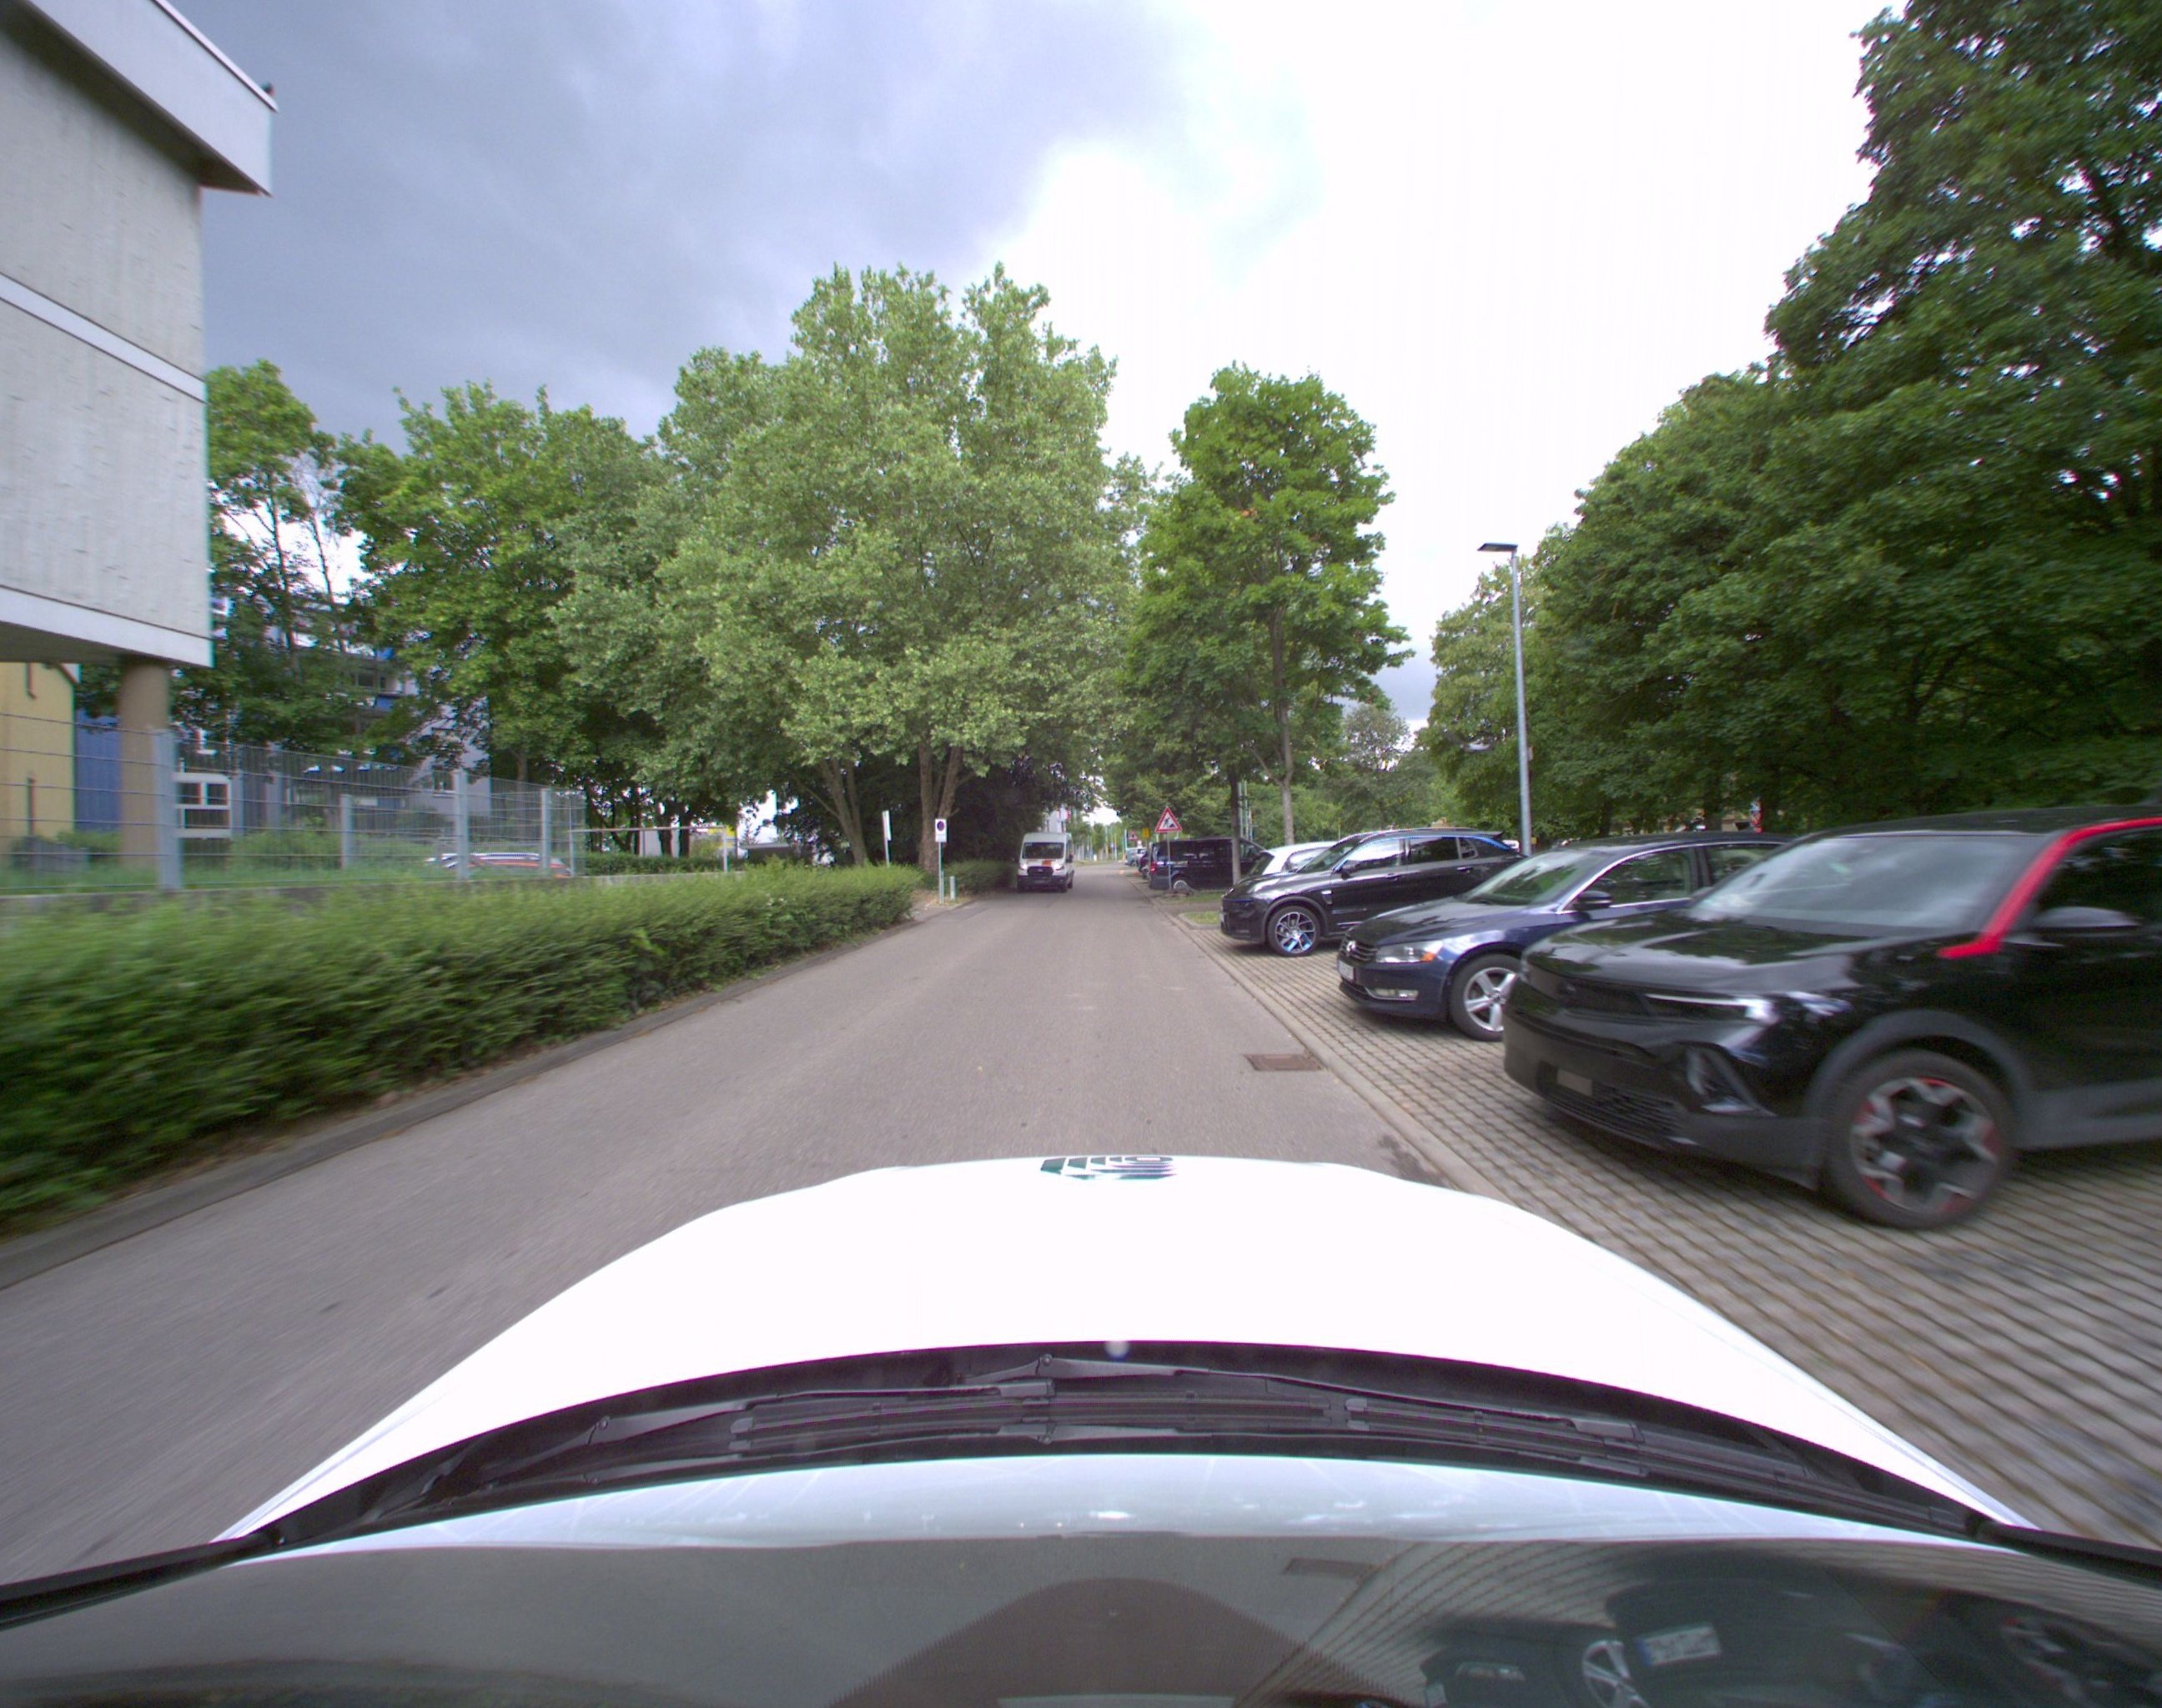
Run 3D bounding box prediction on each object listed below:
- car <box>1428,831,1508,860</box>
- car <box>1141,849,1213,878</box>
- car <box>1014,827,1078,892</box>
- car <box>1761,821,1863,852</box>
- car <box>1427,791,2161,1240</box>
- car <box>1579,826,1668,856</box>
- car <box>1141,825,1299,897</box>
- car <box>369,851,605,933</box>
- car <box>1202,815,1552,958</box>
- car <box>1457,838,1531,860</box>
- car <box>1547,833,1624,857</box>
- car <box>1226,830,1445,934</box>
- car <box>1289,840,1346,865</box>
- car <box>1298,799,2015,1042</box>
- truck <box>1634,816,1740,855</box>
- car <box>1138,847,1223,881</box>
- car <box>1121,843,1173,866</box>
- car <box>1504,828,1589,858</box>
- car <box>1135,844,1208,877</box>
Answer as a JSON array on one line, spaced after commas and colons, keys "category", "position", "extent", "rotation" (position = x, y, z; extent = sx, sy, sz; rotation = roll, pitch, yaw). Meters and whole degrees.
[{"category": "car", "position": [30.350, -0.657, 64.002], "extent": [5.290, 2.057, 2.142], "rotation": [-2, 0, 7]}, {"category": "car", "position": [5.342, 0.515, 45.472], "extent": [3.814, 1.358, 1.824], "rotation": [-3, -1, 4]}, {"category": "car", "position": [-1.371, 0.196, 34.599], "extent": [2.123, 2.476, 6.281], "rotation": [-1, 0, 3]}, {"category": "car", "position": [54.077, -1.261, 60.348], "extent": [5.290, 2.057, 2.142], "rotation": [-2, 0, 7]}, {"category": "car", "position": [4.141, 0.522, 3.984], "extent": [4.063, 1.517, 1.849], "rotation": [-3, 0, -3]}, {"category": "car", "position": [41.606, -0.988, 62.606], "extent": [5.290, 2.057, 2.142], "rotation": [-2, 0, 7]}, {"category": "car", "position": [4.605, 0.223, 27.599], "extent": [4.935, 2.013, 2.167], "rotation": [-4, 0, 2]}, {"category": "car", "position": [-13.215, 0.777, 18.284], "extent": [1.802, 1.611, 4.024], "rotation": [-2, -1, 44]}, {"category": "car", "position": [4.168, 0.433, 12.092], "extent": [4.400, 1.676, 2.082], "rotation": [-3, 0, 0]}, {"category": "car", "position": [29.489, -0.346, 58.224], "extent": [4.404, 1.428, 1.707], "rotation": [-2, -1, 8]}, {"category": "car", "position": [35.523, -0.609, 57.399], "extent": [4.259, 1.526, 1.707], "rotation": [-2, -1, 8]}, {"category": "car", "position": [4.484, 0.465, 14.742], "extent": [3.366, 1.574, 1.797], "rotation": [-3, 0, 1]}, {"category": "car", "position": [17.393, -0.072, 59.976], "extent": [3.757, 1.668, 1.772], "rotation": [-2, 0, 8]}, {"category": "car", "position": [4.425, 0.488, 6.933], "extent": [4.617, 1.517, 1.984], "rotation": [-3, 0, 2]}, {"category": "truck", "position": [42.009, -1.246, 56.551], "extent": [5.476, 2.426, 2.197], "rotation": [-2, -1, 7]}, {"category": "car", "position": [4.866, 0.497, 40.268], "extent": [3.973, 1.430, 1.936], "rotation": [-3, -1, 0]}, {"category": "car", "position": [6.524, 0.040, 80.856], "extent": [4.953, 1.972, 1.848], "rotation": [-3, 0, 2]}, {"category": "car", "position": [36.068, -0.834, 63.240], "extent": [5.290, 2.057, 2.142], "rotation": [-2, 0, 7]}, {"category": "car", "position": [5.328, 0.381, 48.121], "extent": [4.104, 1.650, 1.982], "rotation": [-3, -1, 4]}]
